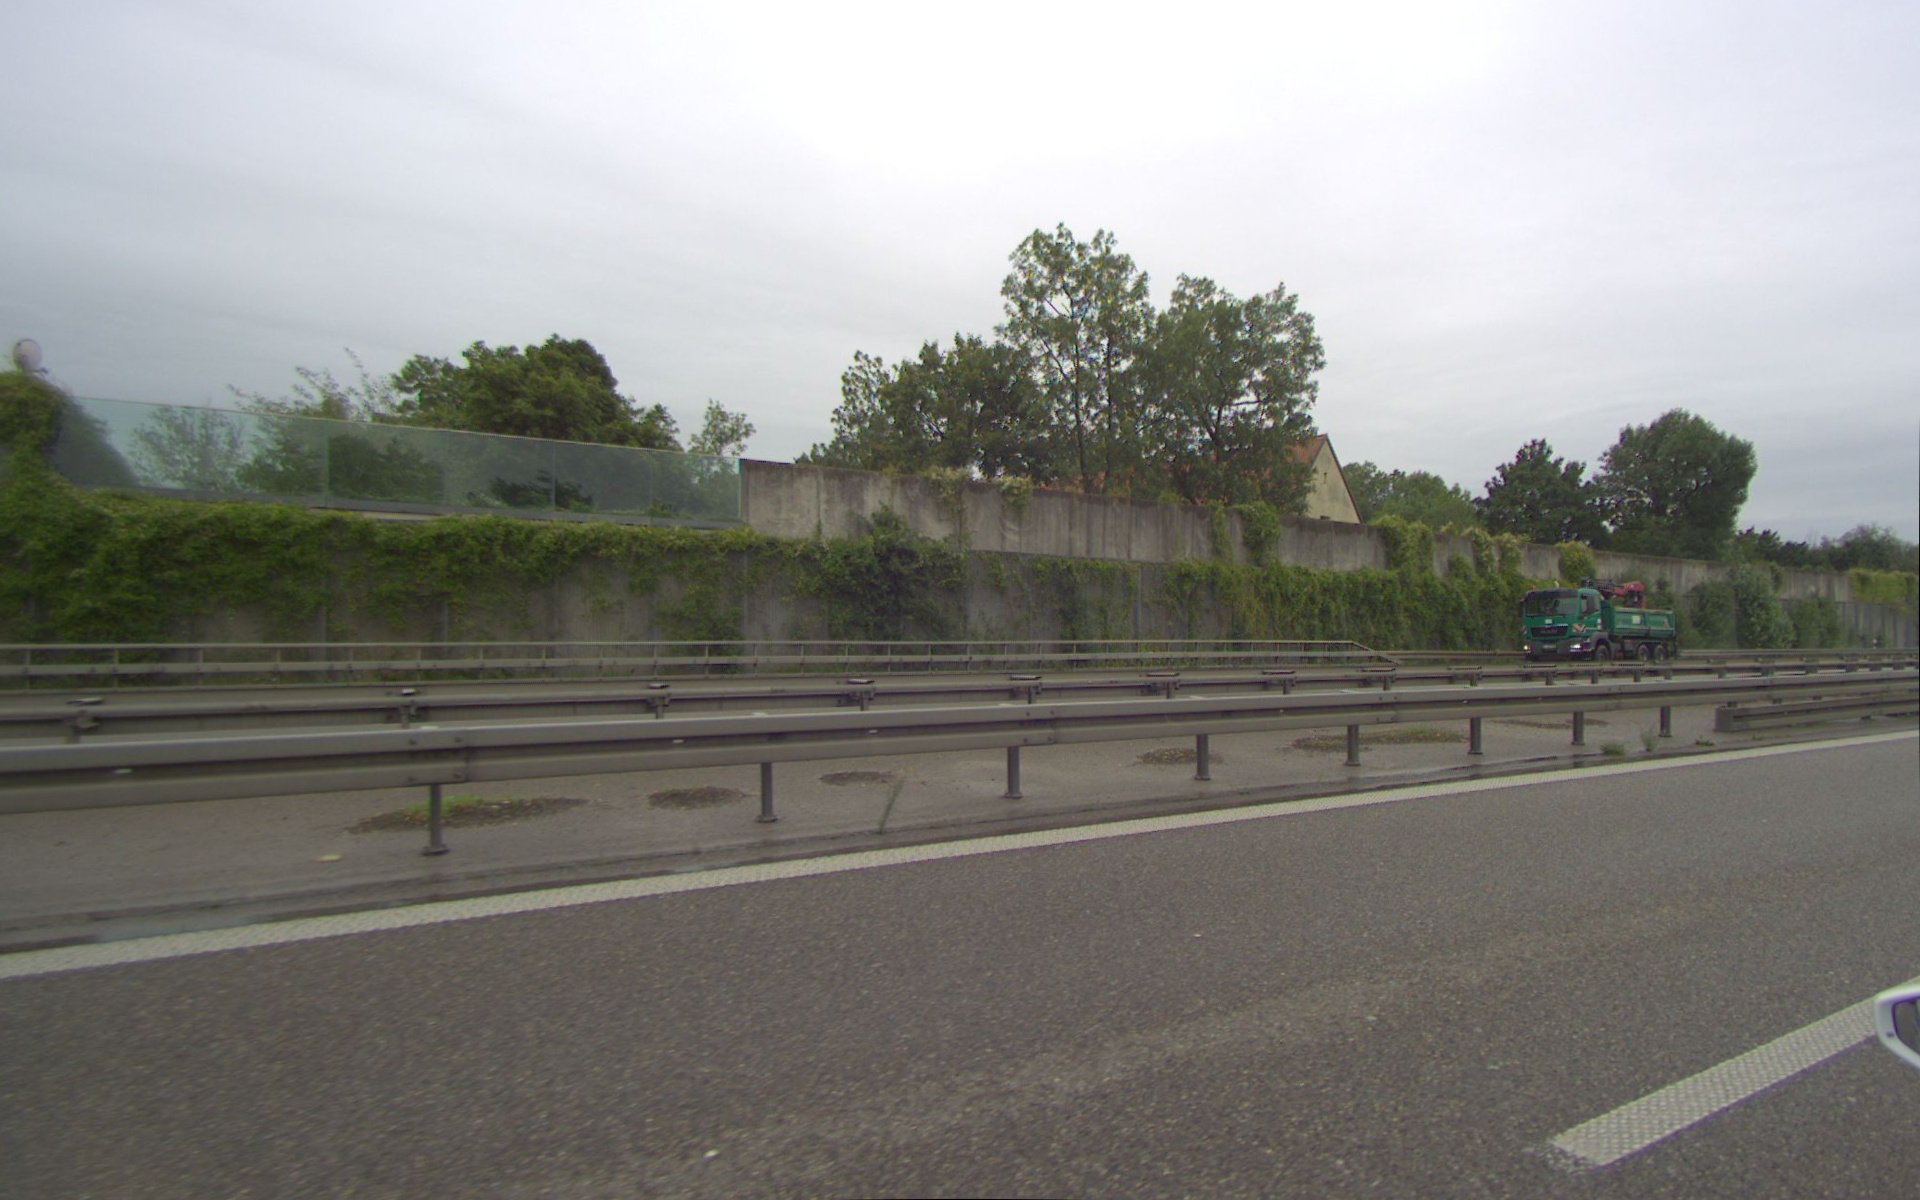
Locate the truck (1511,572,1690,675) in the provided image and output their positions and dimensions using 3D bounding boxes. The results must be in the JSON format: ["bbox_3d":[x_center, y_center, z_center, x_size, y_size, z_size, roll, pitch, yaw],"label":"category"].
[{"bbox_3d":[25.974,0.948,40.578,8.242,3.827,2.677,2,0,-31],"label":"truck"}]
